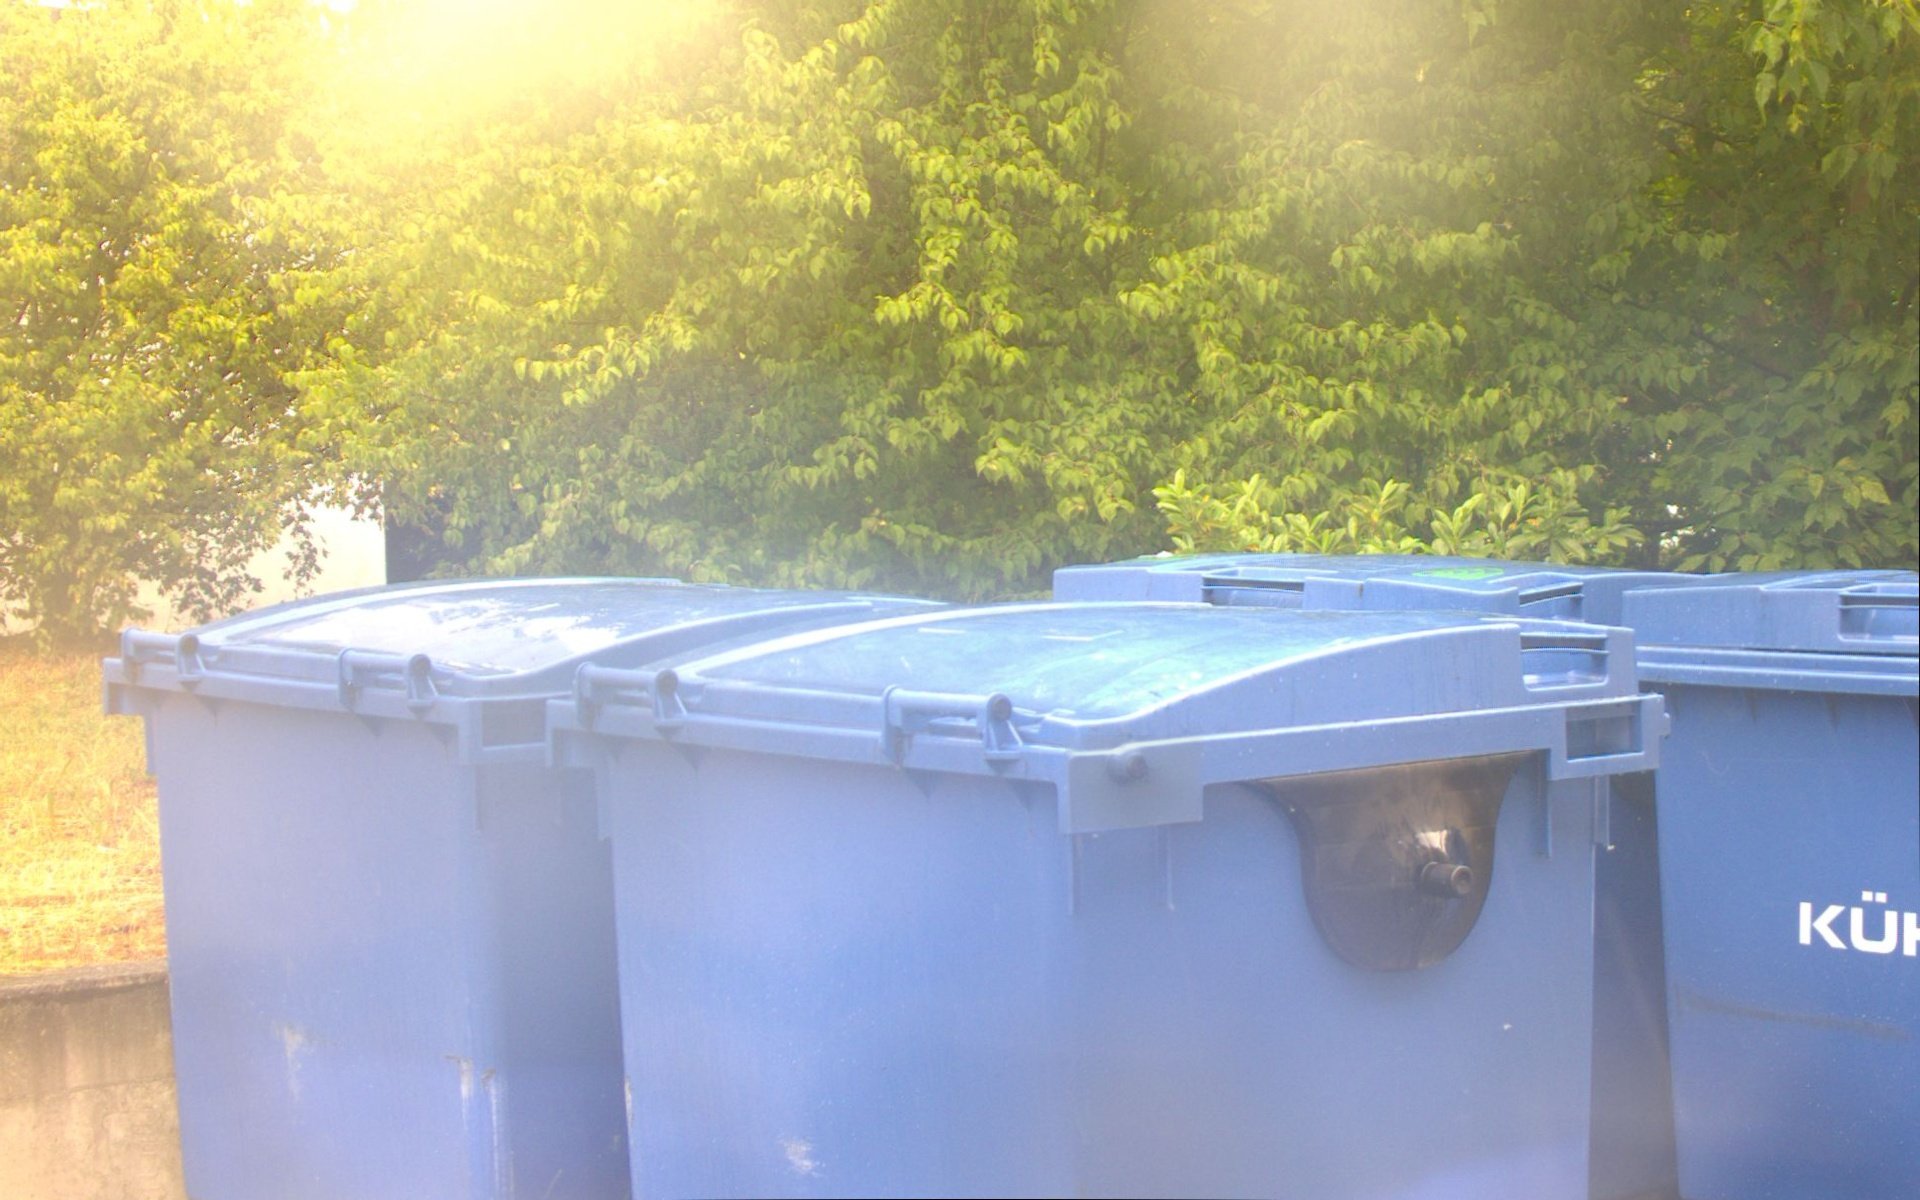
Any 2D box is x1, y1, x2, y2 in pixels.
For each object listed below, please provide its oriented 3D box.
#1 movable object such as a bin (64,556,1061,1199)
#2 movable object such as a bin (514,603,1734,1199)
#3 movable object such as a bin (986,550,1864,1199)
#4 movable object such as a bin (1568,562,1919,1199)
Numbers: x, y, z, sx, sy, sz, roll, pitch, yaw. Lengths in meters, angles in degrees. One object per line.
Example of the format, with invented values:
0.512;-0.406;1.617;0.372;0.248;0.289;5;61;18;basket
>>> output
-0.656;0.645;5.611;1.113;1.332;1.206;-5;5;-38;movable object such as a bin
0.192;0.695;4.590;1.113;1.332;1.206;-2;2;-35;movable object such as a bin
0.843;0.598;6.356;1.003;1.332;1.225;-4;3;-38;movable object such as a bin
1.767;0.625;5.392;1.003;1.332;1.225;-3;3;-38;movable object such as a bin
